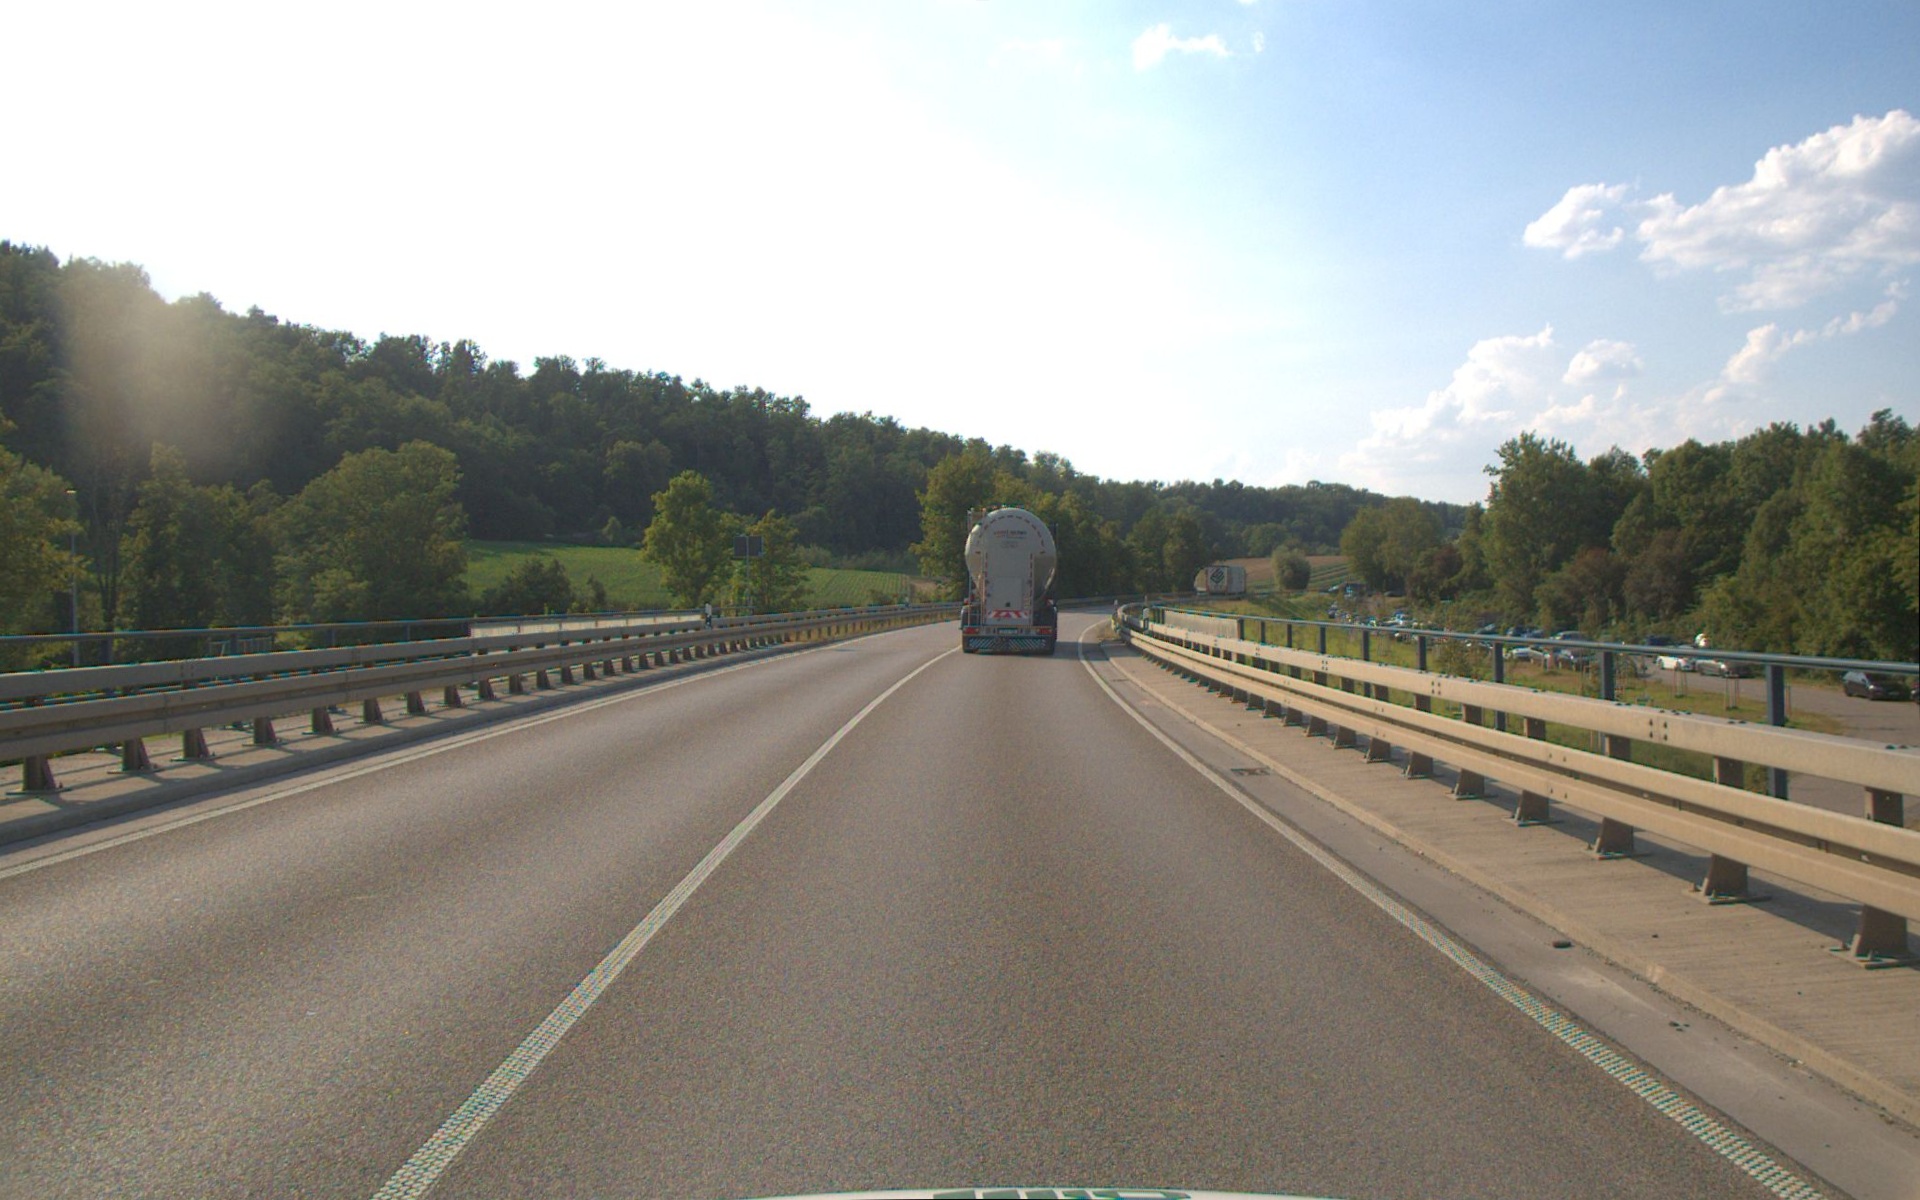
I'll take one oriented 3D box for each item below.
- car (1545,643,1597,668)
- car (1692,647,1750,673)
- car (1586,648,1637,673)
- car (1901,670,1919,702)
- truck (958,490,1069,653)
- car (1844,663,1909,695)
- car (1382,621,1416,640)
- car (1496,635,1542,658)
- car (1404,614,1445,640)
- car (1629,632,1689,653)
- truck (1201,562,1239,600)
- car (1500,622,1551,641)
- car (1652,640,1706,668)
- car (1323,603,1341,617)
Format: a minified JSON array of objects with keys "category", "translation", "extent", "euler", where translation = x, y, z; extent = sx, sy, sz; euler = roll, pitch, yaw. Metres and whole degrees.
[{"category":"car","translation":[43.411,3.920,117.603],"extent":[1.782,1.425,4.253],"euler":[-2,2,-5]},{"category":"car","translation":[48.846,3.851,106.294],"extent":[1.621,1.523,4.220],"euler":[0,0,-3]},{"category":"car","translation":[43.746,4.055,111.169],"extent":[1.621,1.523,4.220],"euler":[0,0,-3]},{"category":"car","translation":[49.609,4.370,83.198],"extent":[1.646,1.523,3.627],"euler":[0,0,-42]},{"category":"truck","translation":[1.801,-0.760,49.635],"extent":[2.832,4.215,13.178],"euler":[1,0,4]},{"category":"car","translation":[48.631,4.176,87.860],"extent":[1.619,1.523,3.832],"euler":[0,0,6]},{"category":"car","translation":[42.777,2.939,161.273],"extent":[1.854,1.508,4.782],"euler":[-4,2,-1]},{"category":"car","translation":[43.491,3.631,128.775],"extent":[1.782,1.508,4.253],"euler":[-2,2,-5]},{"category":"car","translation":[42.896,2.506,152.856],"extent":[2.076,2.052,5.379],"euler":[-4,2,-1]},{"category":"car","translation":[55.367,3.330,131.063],"extent":[4.153,1.481,1.615],"euler":[-1,1,-8]},{"category":"truck","translation":[31.294,-2.389,198.720],"extent":[3.116,4.301,13.183],"euler":[0,1,15]},{"category":"car","translation":[52.820,2.946,154.581],"extent":[4.147,1.632,1.833],"euler":[1,0,-2]},{"category":"car","translation":[48.844,3.663,112.411],"extent":[1.620,1.695,4.708],"euler":[0,0,0]},{"category":"car","translation":[49.350,1.301,219.304],"extent":[1.852,1.586,4.787],"euler":[-3,2,17]}]
